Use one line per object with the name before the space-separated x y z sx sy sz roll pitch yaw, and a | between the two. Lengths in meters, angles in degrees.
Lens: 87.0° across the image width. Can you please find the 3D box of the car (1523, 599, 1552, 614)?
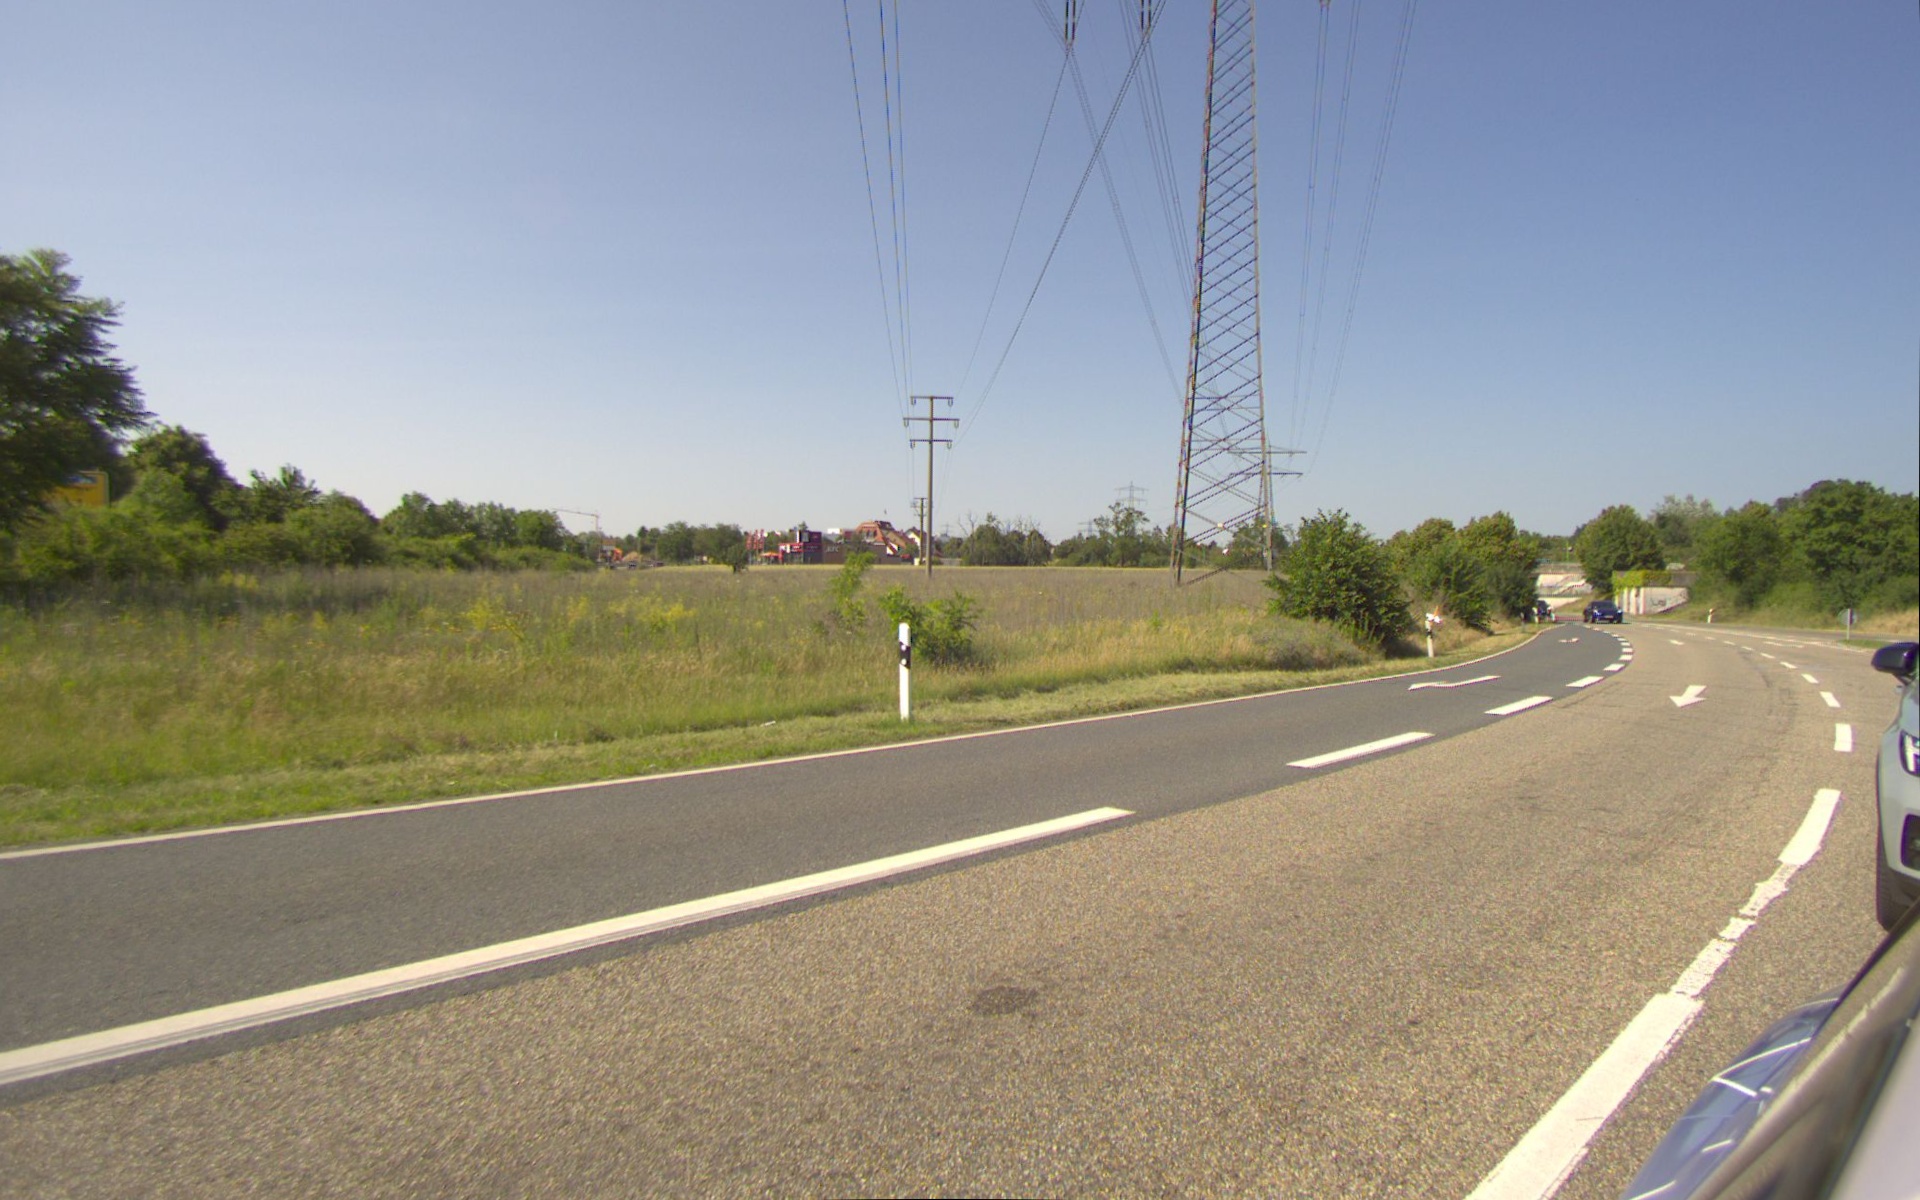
car | 55.949 0.583 98.146 1.876 1.369 3.510 -1 0 21

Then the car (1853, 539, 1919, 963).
car | 5.541 0.598 4.536 3.583 1.640 1.858 0 0 -41

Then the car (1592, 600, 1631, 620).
car | 46.625 0.722 72.524 1.879 1.369 3.504 -1 0 25
